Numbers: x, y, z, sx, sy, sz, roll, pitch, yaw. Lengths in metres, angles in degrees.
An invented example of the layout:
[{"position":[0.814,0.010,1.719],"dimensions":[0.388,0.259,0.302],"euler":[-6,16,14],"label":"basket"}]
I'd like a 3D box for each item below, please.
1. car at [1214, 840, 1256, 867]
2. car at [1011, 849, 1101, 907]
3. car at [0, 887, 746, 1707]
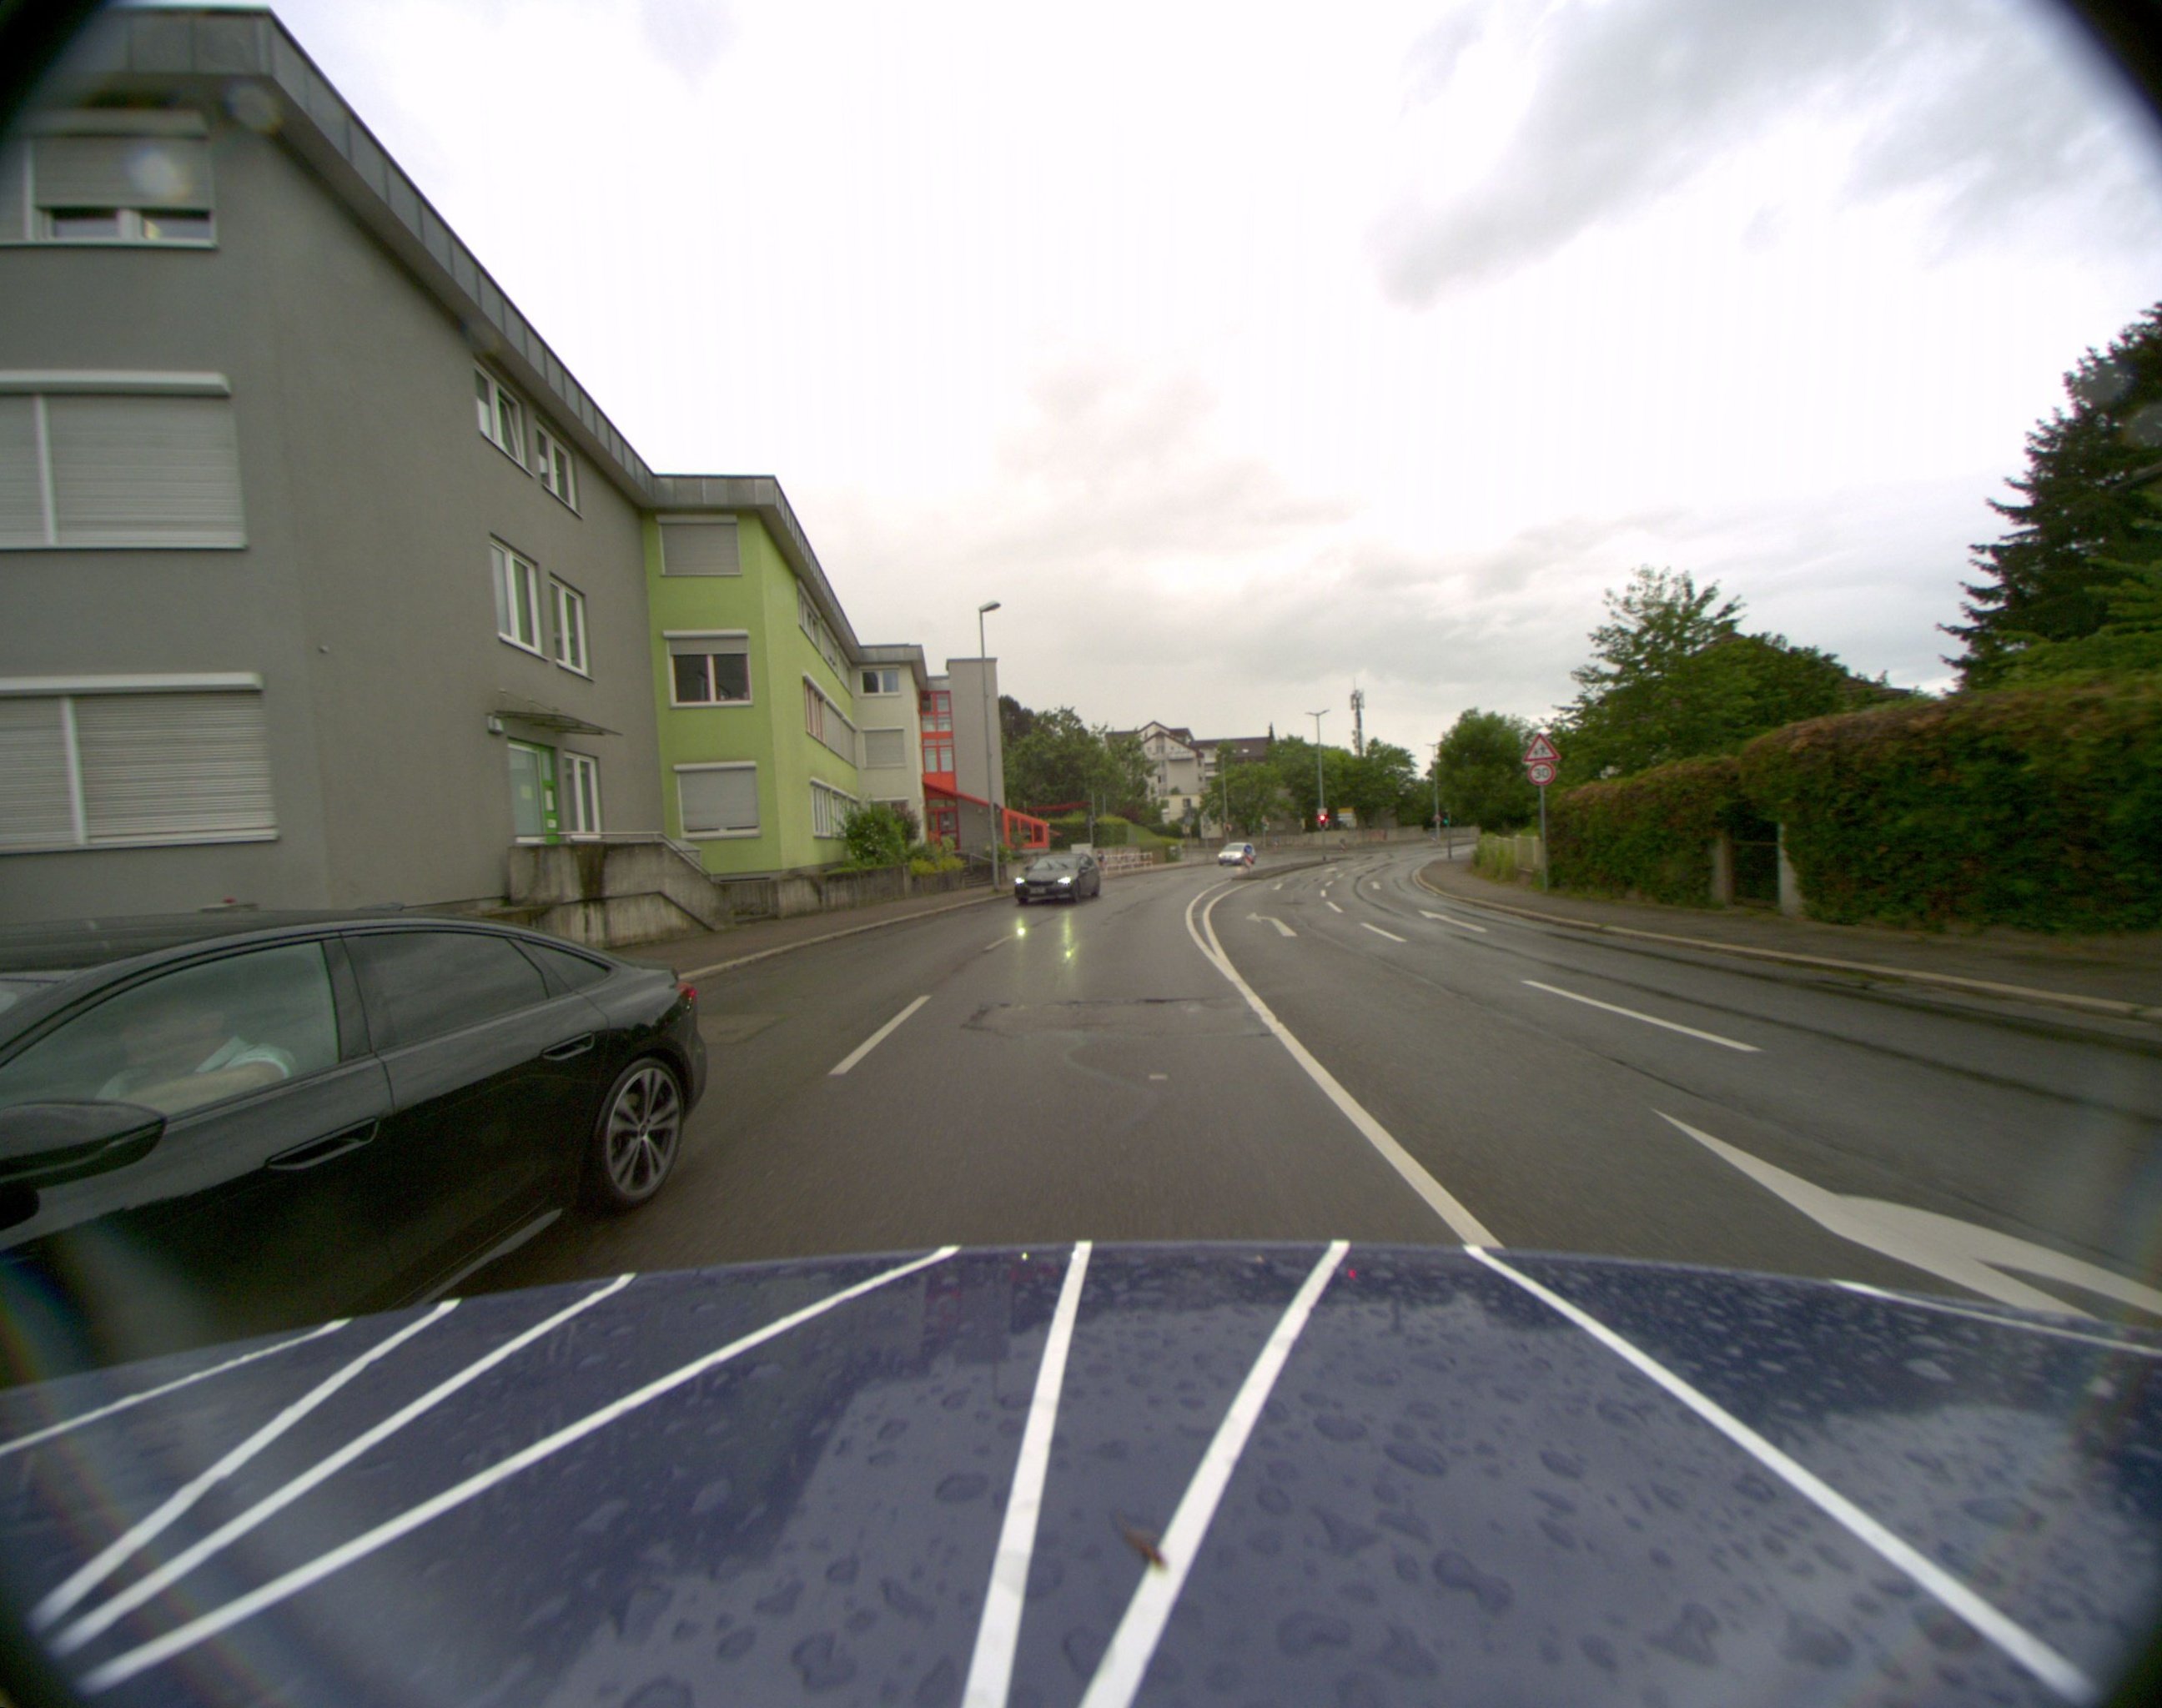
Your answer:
[{"position":[10.952,-0.076,53.978],"dimensions":[1.995,1.647,4.005],"euler":[-2,3,25],"label":"car"},{"position":[-0.715,0.714,24.646],"dimensions":[1.870,1.511,4.002],"euler":[-2,3,13],"label":"car"},{"position":[-2.926,1.034,1.904],"dimensions":[1.871,1.416,4.737],"euler":[-3,2,2],"label":"car"}]
